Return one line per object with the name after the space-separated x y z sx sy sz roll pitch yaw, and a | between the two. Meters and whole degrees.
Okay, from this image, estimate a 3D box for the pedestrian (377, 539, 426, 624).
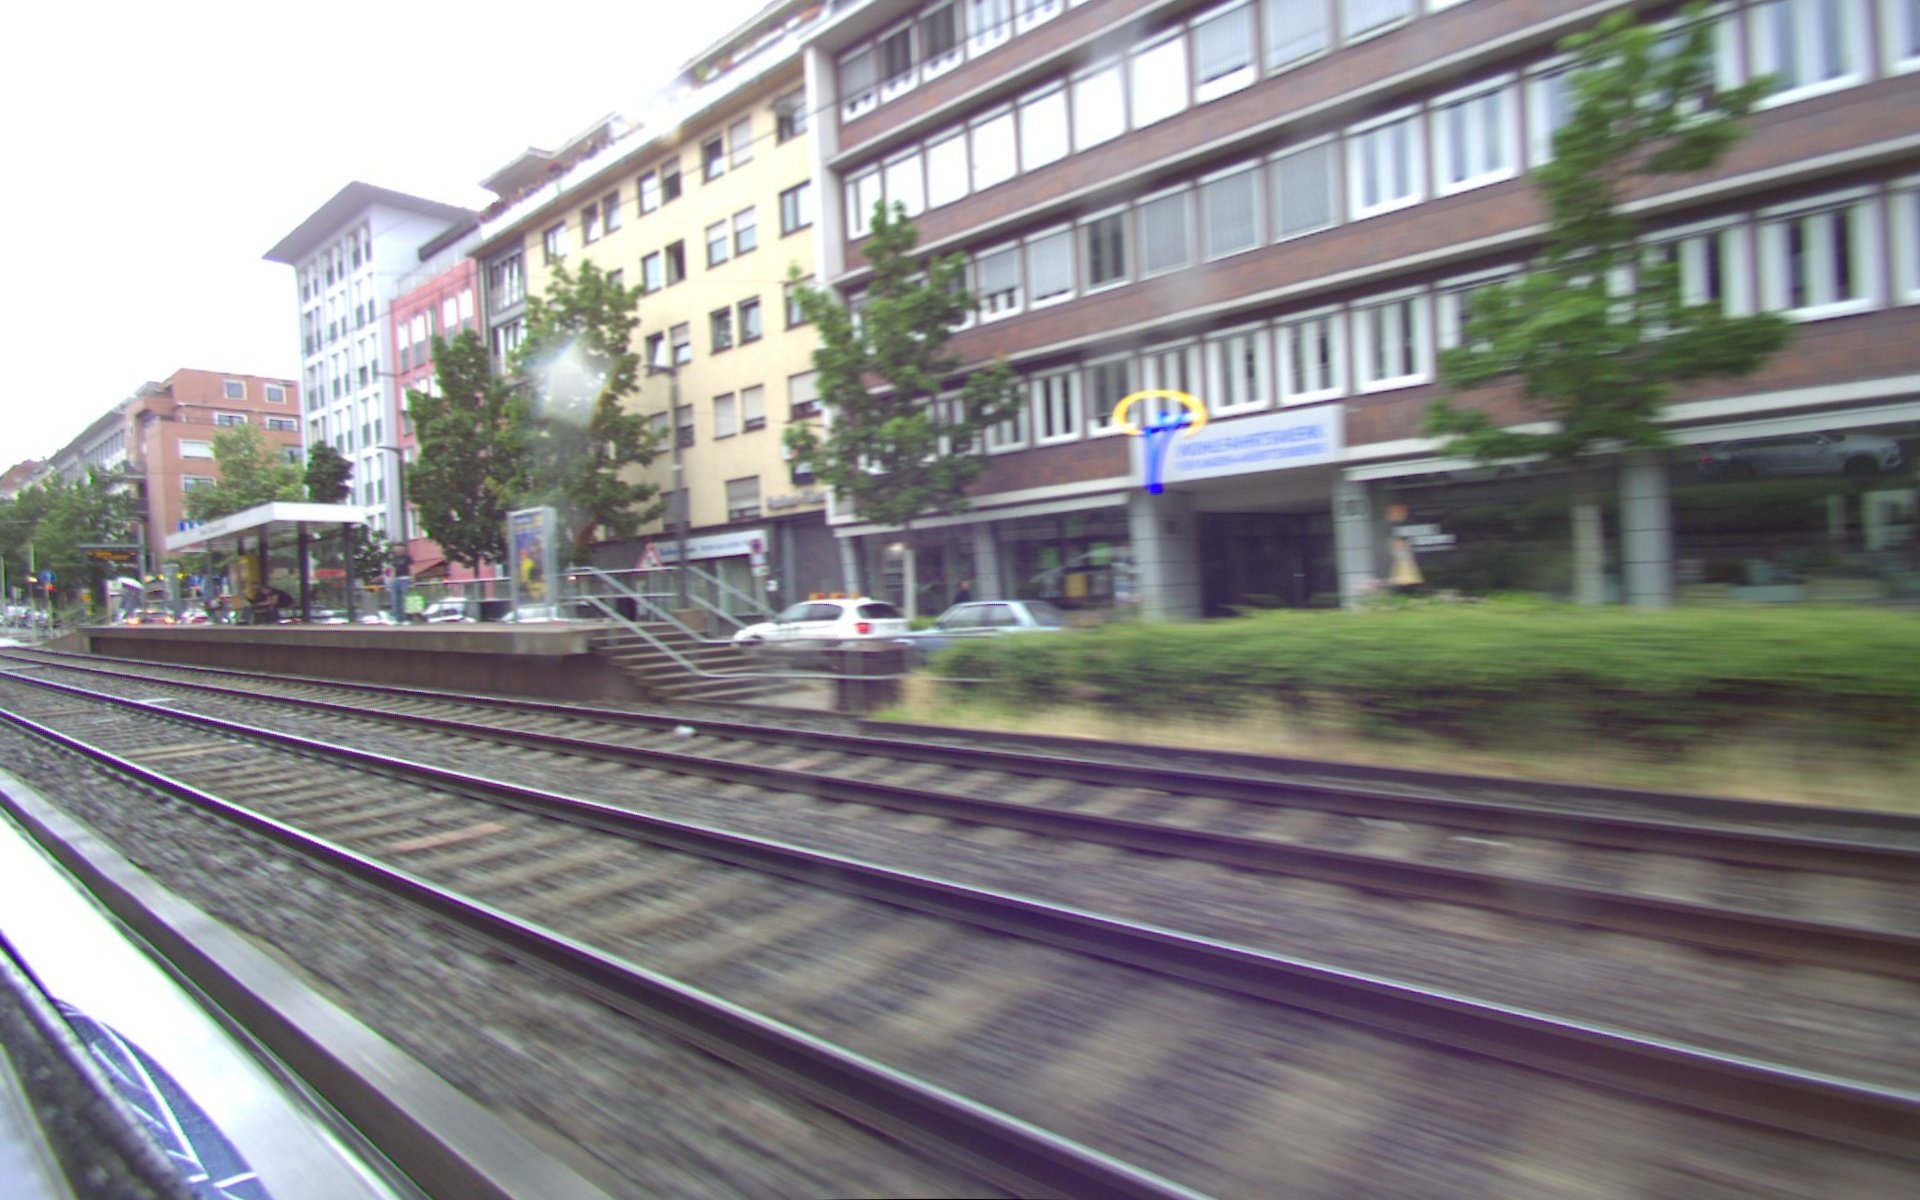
-12.331 -0.398 22.337 0.849 1.815 0.649 -1 0 38 | pedestrian

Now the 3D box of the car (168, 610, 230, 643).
-39.704 1.372 52.759 4.551 1.624 1.708 -2 0 42 | car

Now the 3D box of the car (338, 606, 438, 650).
-20.397 0.988 36.034 3.973 1.447 1.657 -1 0 38 | car

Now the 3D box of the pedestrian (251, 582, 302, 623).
-19.067 0.072 28.248 0.846 1.132 0.886 -1 0 30 | pedestrian

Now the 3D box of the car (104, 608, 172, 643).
-40.599 1.233 49.951 5.018 1.590 1.788 -1 0 41 | car

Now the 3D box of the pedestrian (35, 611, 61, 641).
-54.036 1.561 59.960 0.983 1.709 0.813 -1 2 32 | pedestrian

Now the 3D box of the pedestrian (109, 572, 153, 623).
-33.334 -0.102 40.693 1.382 2.029 1.105 -1 0 40 | pedestrian

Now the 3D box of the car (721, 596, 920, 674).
-2.961 0.696 20.999 4.232 1.447 1.553 -1 0 38 | car

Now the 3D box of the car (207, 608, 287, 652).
-32.136 1.337 45.576 4.375 1.872 1.785 -1 0 38 | car

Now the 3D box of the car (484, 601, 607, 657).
-11.706 0.805 28.516 3.730 1.447 1.553 -1 0 38 | car

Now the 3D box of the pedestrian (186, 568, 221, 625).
-23.000 -0.102 30.764 0.849 1.724 0.649 -1 0 38 | pedestrian

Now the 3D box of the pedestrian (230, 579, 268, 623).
-20.886 0.031 29.735 0.883 1.258 0.686 -1 0 38 | pedestrian

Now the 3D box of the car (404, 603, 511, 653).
-15.829 0.864 31.828 3.730 1.447 1.553 -1 0 38 | car

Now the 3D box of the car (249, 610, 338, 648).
-28.027 1.203 42.518 4.313 1.447 1.823 -1 0 38 | car

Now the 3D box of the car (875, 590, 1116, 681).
0.552 0.592 18.092 4.171 1.447 1.553 -1 0 38 | car

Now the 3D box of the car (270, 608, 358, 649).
-24.608 1.067 38.499 3.973 1.447 1.553 -1 0 38 | car

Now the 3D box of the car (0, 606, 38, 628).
-85.316 1.546 91.498 5.248 1.858 1.890 0 1 37 | car

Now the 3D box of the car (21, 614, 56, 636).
-75.965 2.039 83.383 4.369 1.636 1.622 0 1 41 | car
